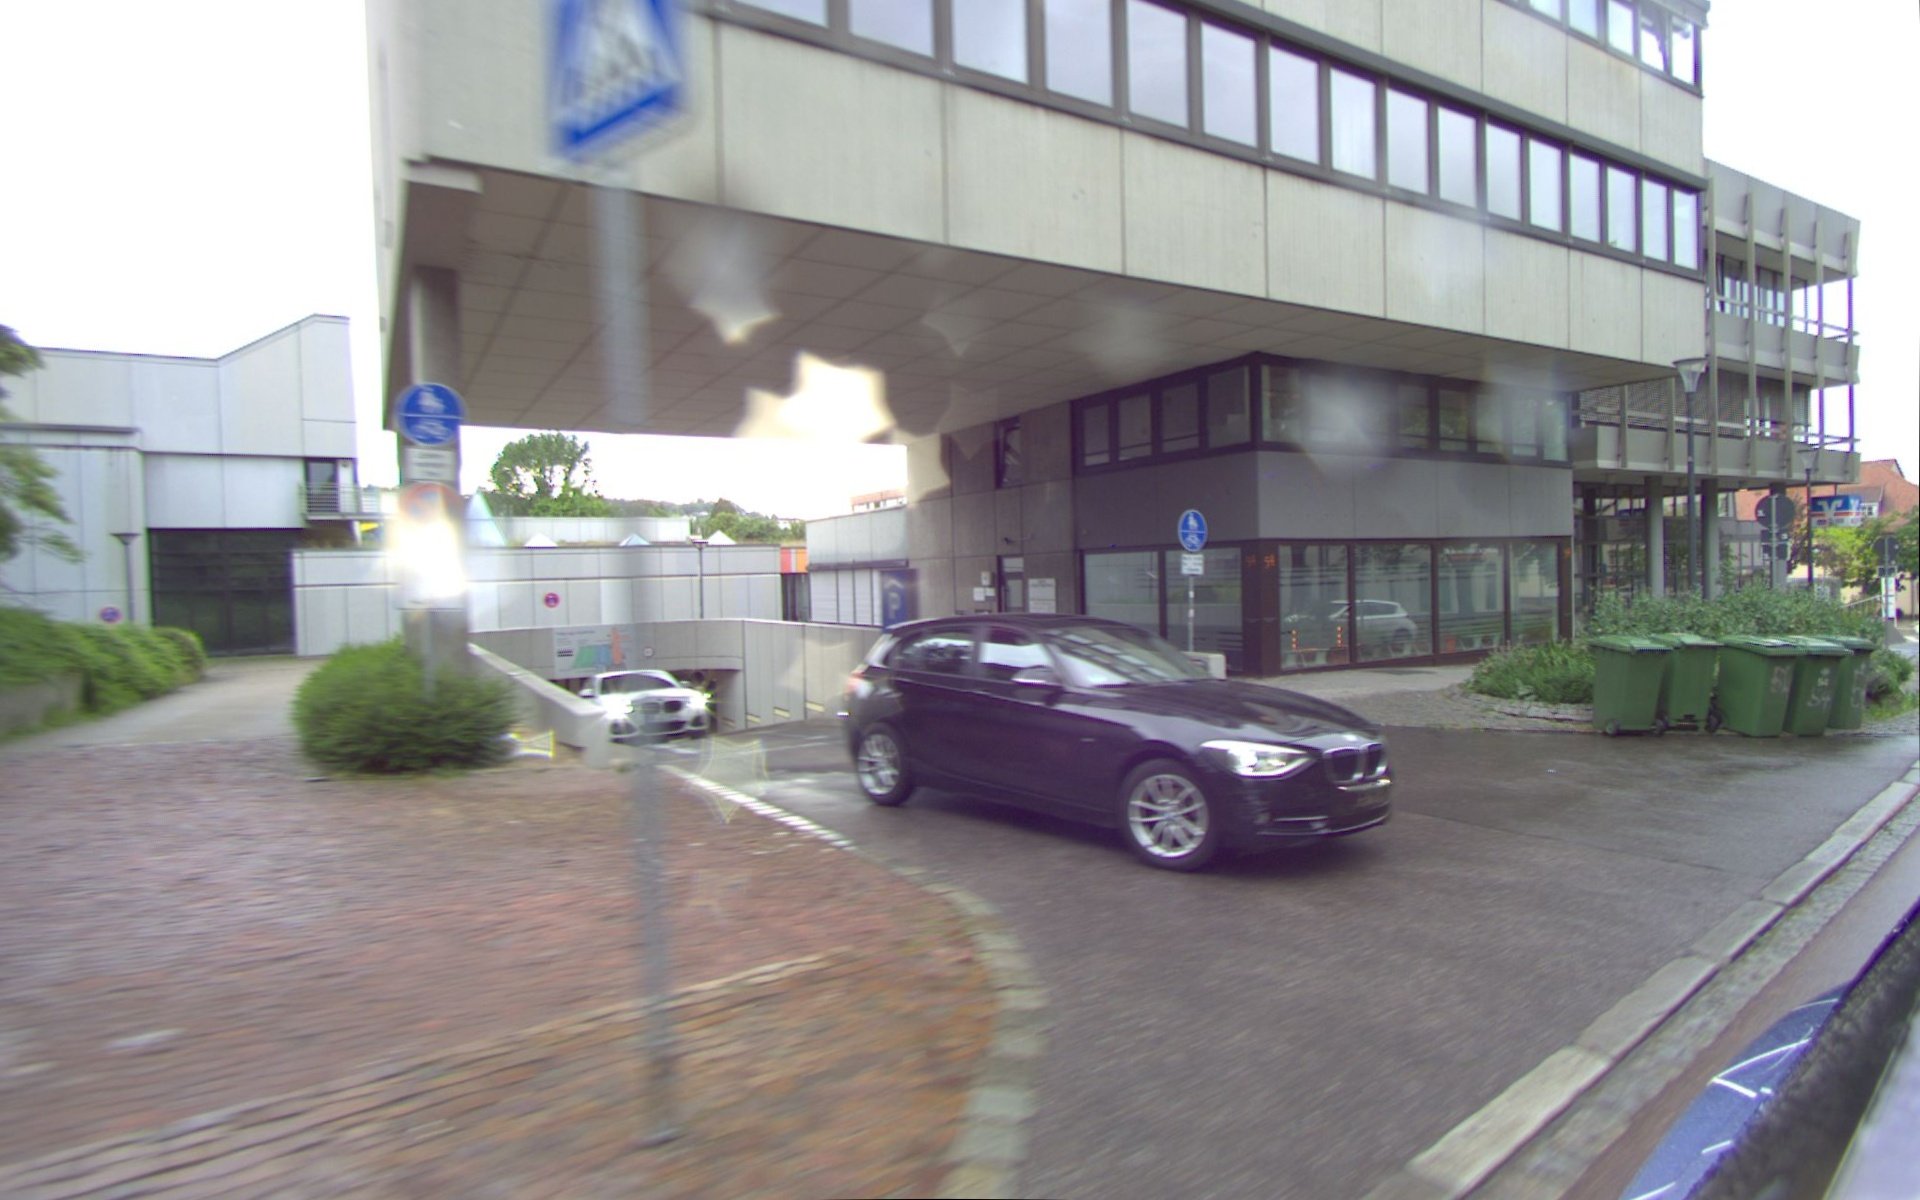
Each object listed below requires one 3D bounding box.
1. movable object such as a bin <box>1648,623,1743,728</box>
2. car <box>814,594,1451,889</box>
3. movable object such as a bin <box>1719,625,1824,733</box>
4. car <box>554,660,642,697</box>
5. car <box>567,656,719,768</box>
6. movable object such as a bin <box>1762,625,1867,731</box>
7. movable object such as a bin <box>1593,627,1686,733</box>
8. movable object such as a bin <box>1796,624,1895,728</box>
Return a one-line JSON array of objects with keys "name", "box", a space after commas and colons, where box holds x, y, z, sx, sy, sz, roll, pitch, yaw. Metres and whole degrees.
[{"name": "movable object such as a bin", "box": [8.276, 0.833, 11.411, 0.561, 1.116, 0.705, 0, 1, 3]}, {"name": "car", "box": [0.889, 0.729, 7.164, 1.808, 1.435, 4.290, 1, -1, -41]}, {"name": "movable object such as a bin", "box": [9.069, 0.865, 11.328, 0.559, 1.124, 0.707, 0, 1, -15]}, {"name": "car", "box": [-18.187, 3.931, 50.849, 3.920, 1.422, 1.622, -3, 2, -29]}, {"name": "car", "box": [-5.622, 1.834, 17.640, 1.709, 1.460, 4.003, -1, 0, -30]}, {"name": "movable object such as a bin", "box": [9.695, 0.861, 11.500, 0.559, 1.121, 0.707, 0, 1, -13]}, {"name": "movable object such as a bin", "box": [7.563, 0.873, 11.286, 0.561, 1.116, 0.705, 0, 1, 3]}, {"name": "movable object such as a bin", "box": [10.466, 0.876, 11.975, 0.559, 1.138, 0.707, -1, 1, -24]}]
